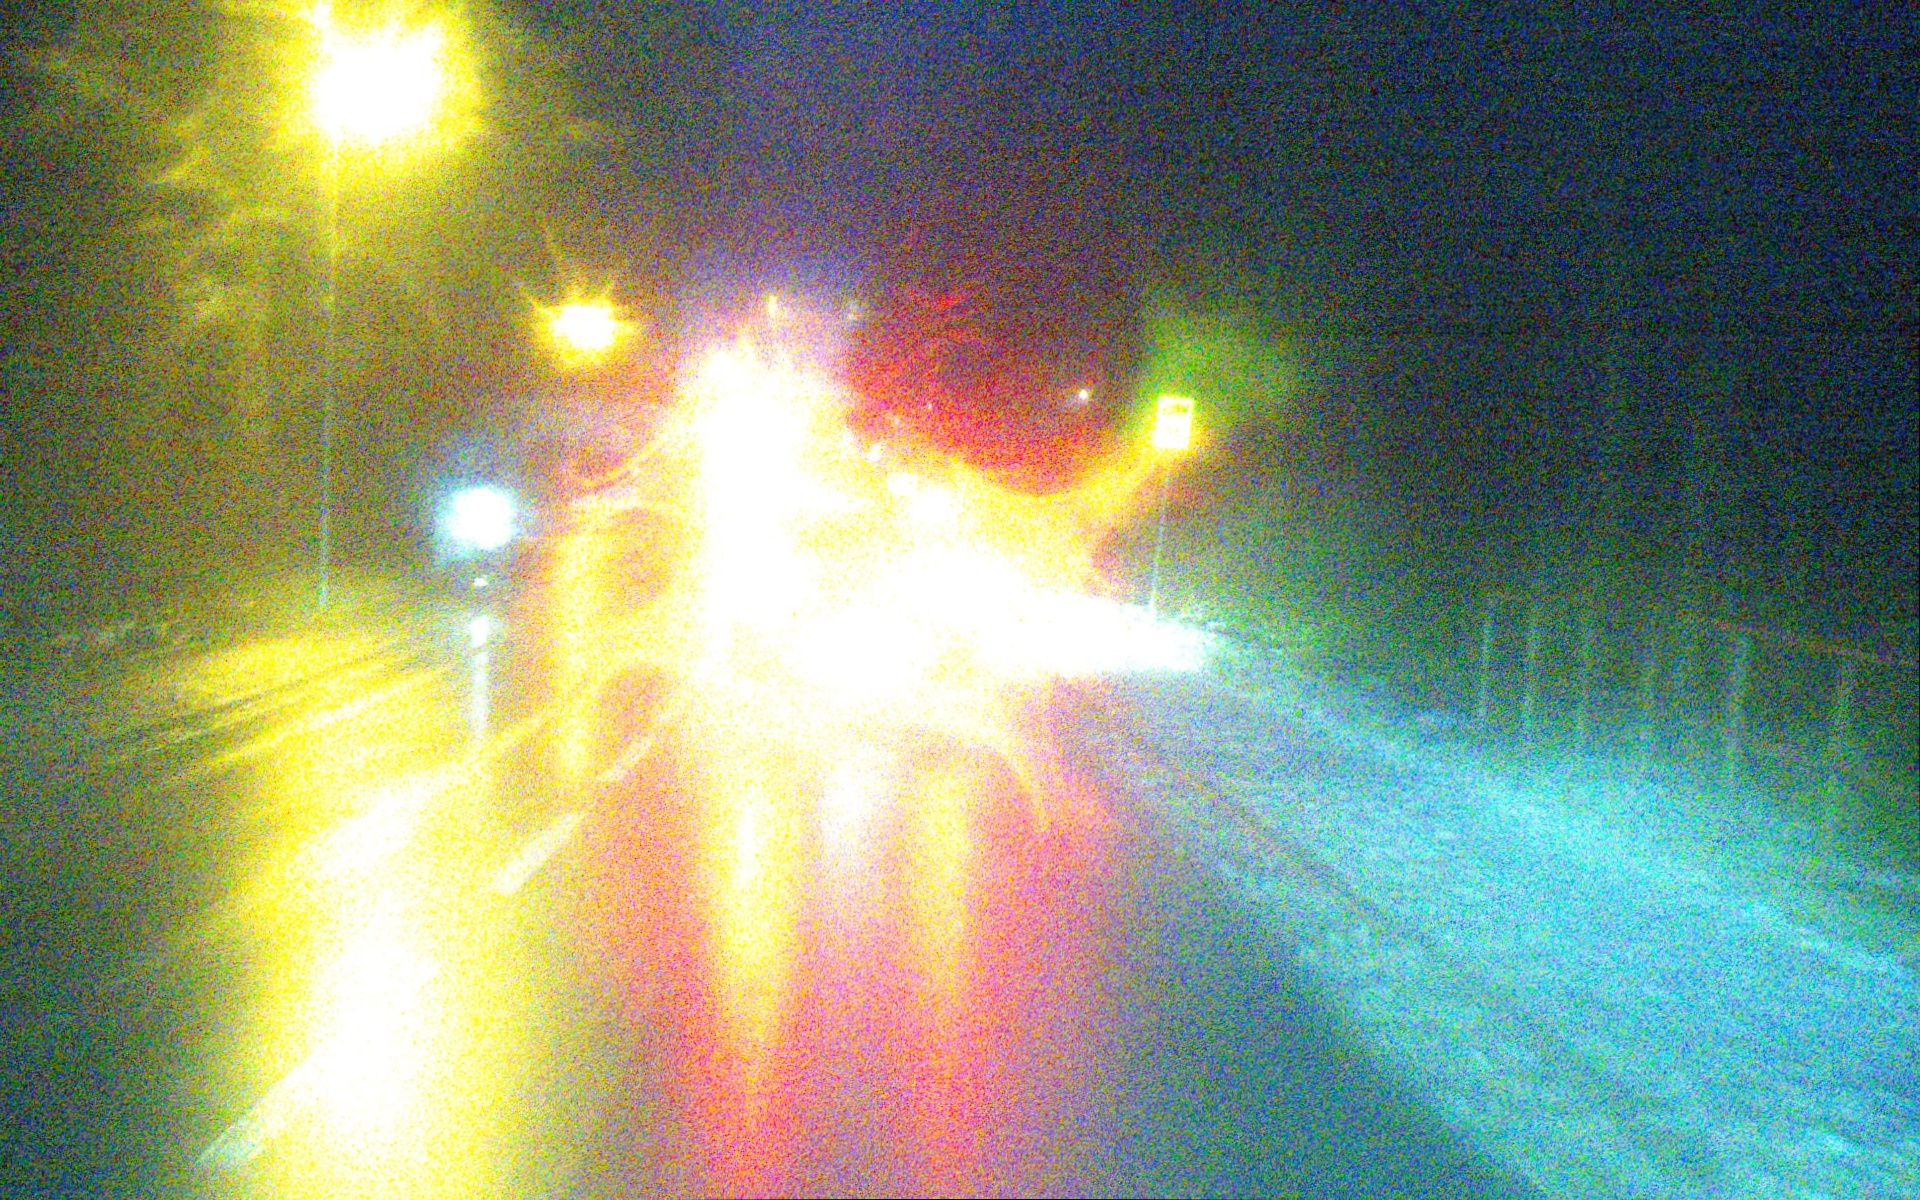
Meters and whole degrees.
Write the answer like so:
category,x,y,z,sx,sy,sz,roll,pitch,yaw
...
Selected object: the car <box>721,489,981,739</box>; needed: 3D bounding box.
category,x,y,z,sx,sy,sz,roll,pitch,yaw
car,-0.814,0.036,25.905,1.791,1.675,3.905,1,2,-2
